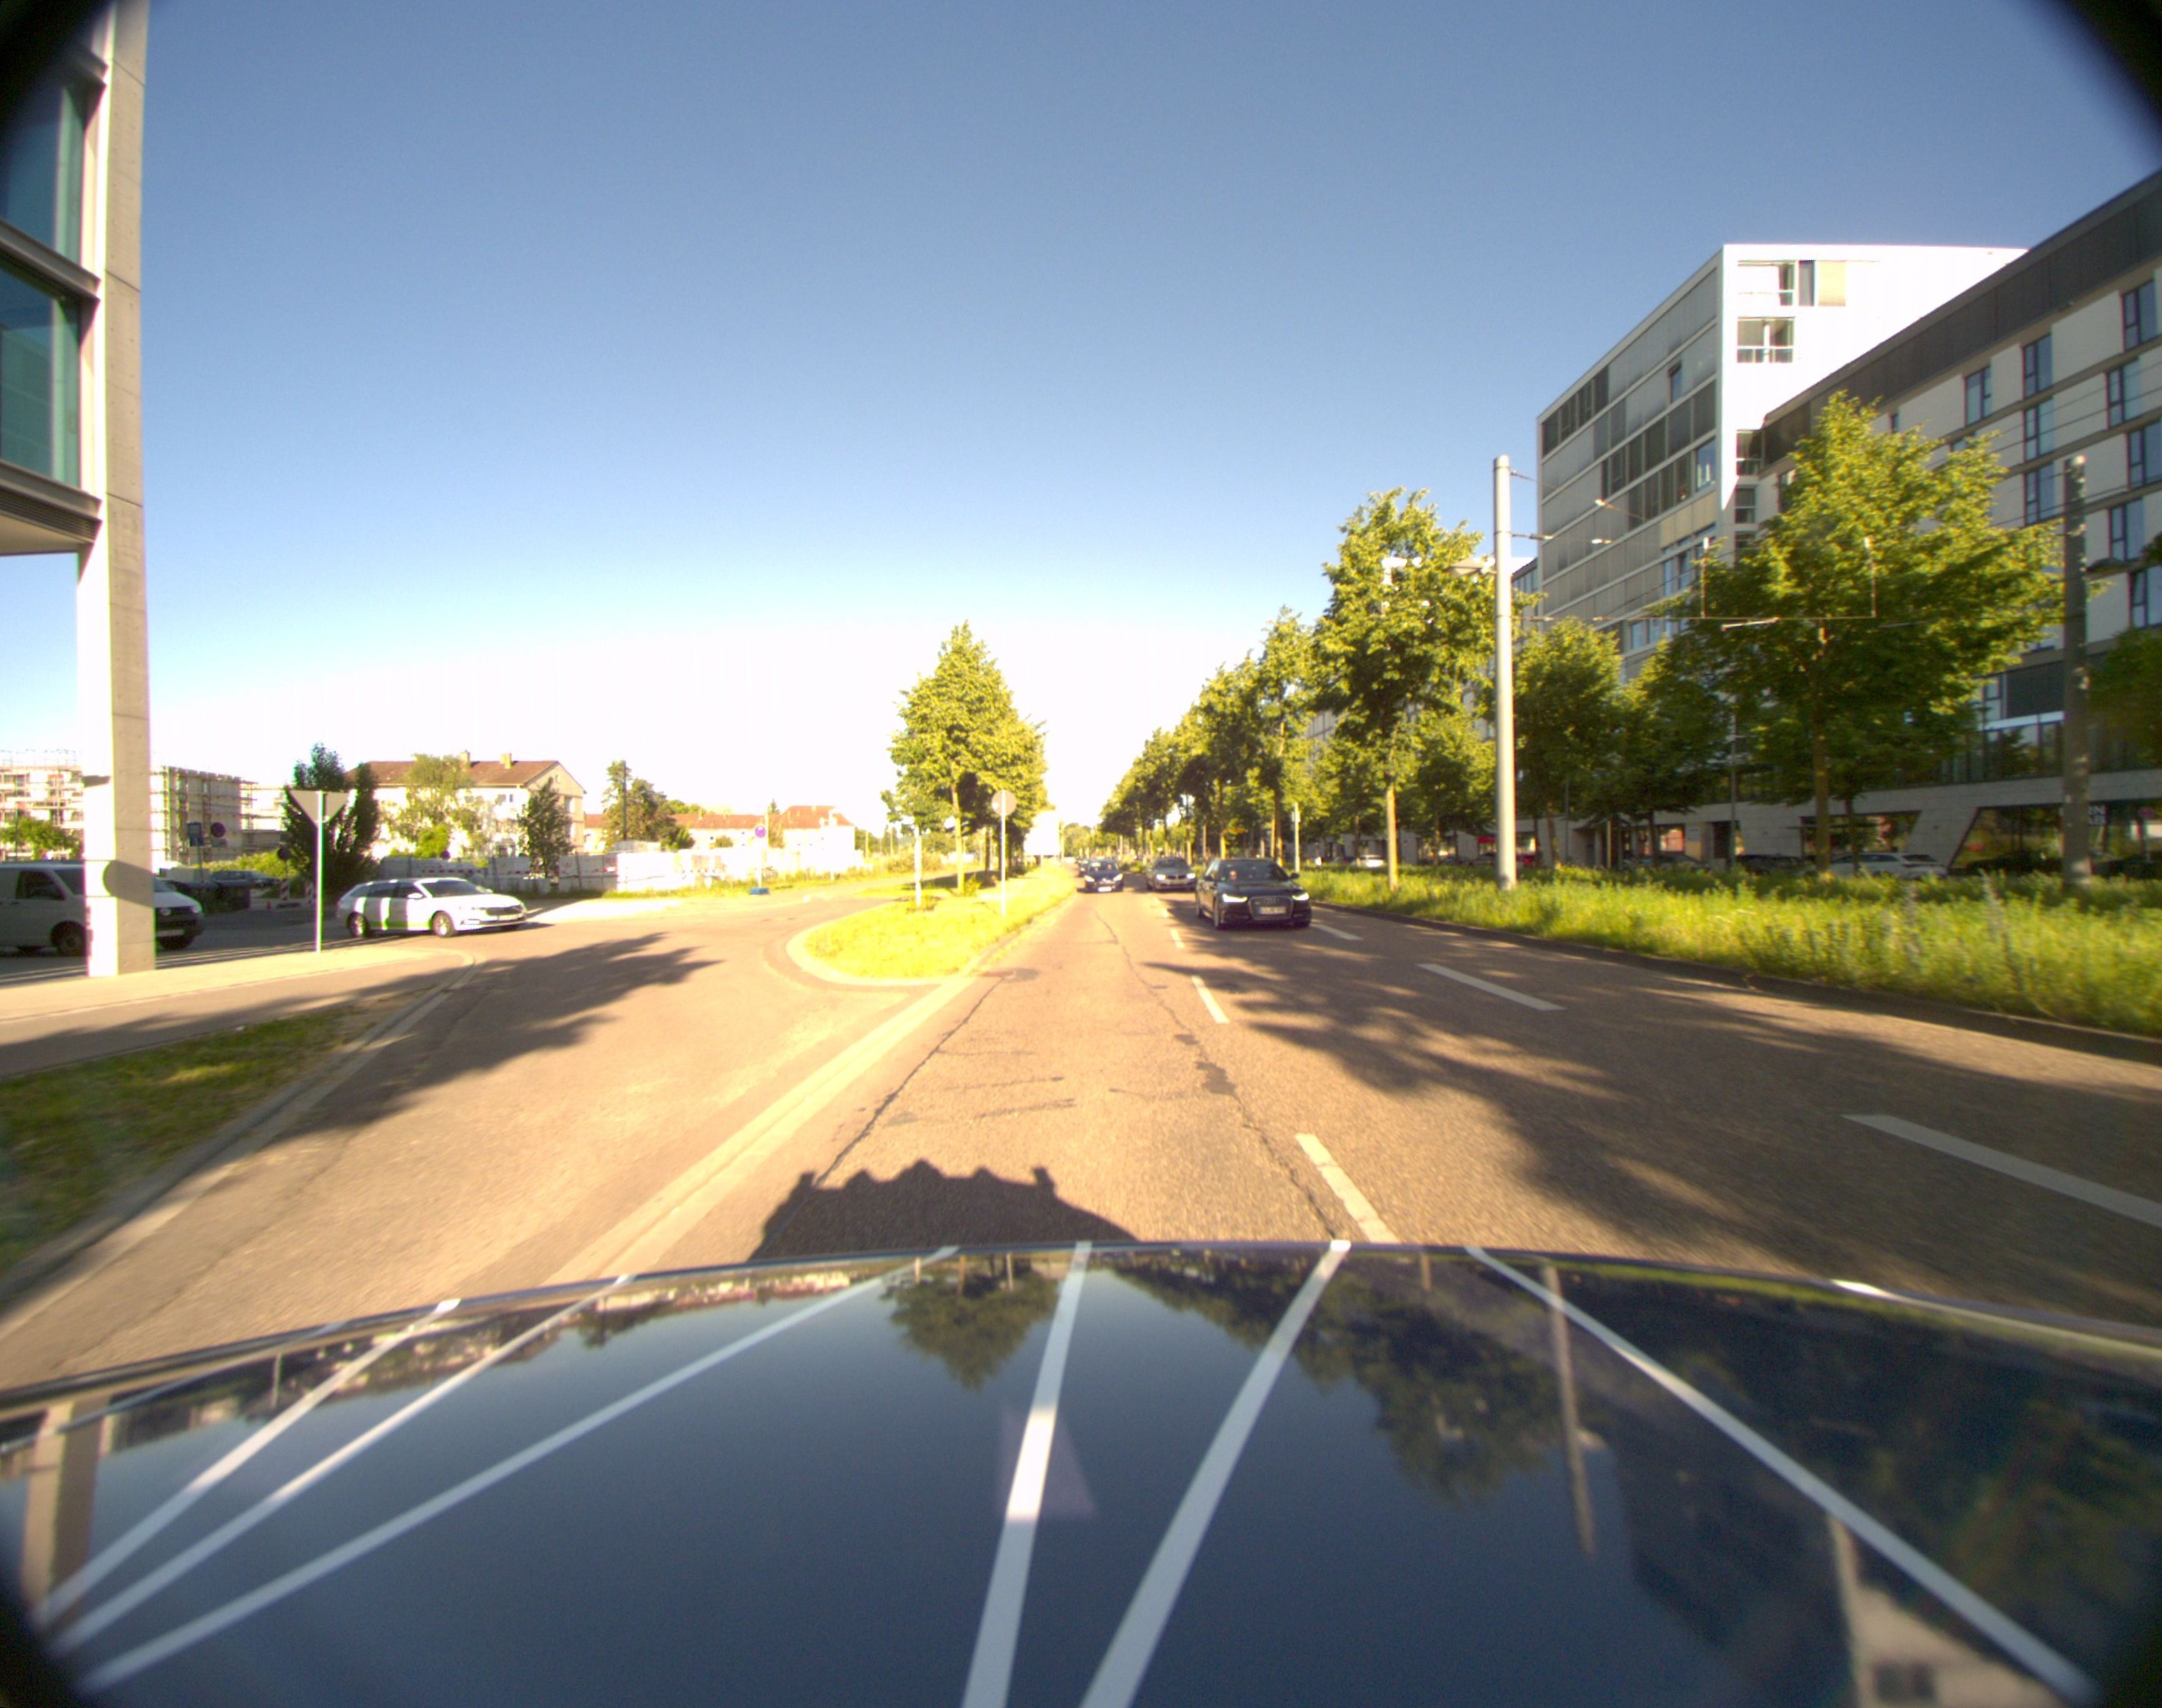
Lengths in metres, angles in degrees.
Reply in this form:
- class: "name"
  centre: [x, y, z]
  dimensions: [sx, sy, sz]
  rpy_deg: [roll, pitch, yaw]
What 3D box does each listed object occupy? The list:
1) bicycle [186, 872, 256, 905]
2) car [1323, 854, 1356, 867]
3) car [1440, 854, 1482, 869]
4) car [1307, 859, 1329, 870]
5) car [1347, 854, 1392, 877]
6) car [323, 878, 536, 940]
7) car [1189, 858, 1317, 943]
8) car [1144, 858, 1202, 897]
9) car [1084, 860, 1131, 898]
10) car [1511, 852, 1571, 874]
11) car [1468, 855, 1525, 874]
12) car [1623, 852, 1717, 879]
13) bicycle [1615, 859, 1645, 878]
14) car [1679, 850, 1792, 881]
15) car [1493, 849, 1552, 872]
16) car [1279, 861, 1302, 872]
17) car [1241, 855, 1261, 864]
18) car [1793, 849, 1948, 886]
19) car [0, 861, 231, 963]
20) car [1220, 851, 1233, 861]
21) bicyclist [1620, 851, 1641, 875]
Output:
- class: "bicycle"
  centre: [-32.726, 1.293, 28.939]
  dimensions: [0.584, 1.184, 1.747]
  rpy_deg: [-1, 1, 3]
- class: "car"
  centre: [25.318, 0.636, 74.638]
  dimensions: [1.802, 1.256, 3.999]
  rpy_deg: [-1, 0, -2]
- class: "car"
  centre: [32.329, 0.601, 64.693]
  dimensions: [1.672, 1.200, 3.582]
  rpy_deg: [-1, 0, -2]
- class: "car"
  centre: [31.031, 1.368, 99.524]
  dimensions: [1.654, 1.228, 3.463]
  rpy_deg: [-1, 2, -2]
- class: "car"
  centre: [23.141, 0.914, 61.064]
  dimensions: [1.802, 1.679, 4.320]
  rpy_deg: [-2, 0, -2]
- class: "car"
  centre: [-16.495, 1.386, 19.285]
  dimensions: [4.519, 1.385, 1.775]
  rpy_deg: [-2, 1, 14]
- class: "car"
  centre: [3.618, 0.902, 16.813]
  dimensions: [1.789, 1.518, 4.601]
  rpy_deg: [-2, 0, 0]
- class: "car"
  centre: [3.981, 0.972, 33.503]
  dimensions: [1.849, 1.560, 4.527]
  rpy_deg: [-1, 0, -2]
- class: "car"
  centre: [1.119, 1.080, 34.157]
  dimensions: [1.763, 1.506, 3.946]
  rpy_deg: [-1, 0, -3]
- class: "car"
  centre: [32.295, 0.609, 53.459]
  dimensions: [1.738, 1.346, 3.752]
  rpy_deg: [-5, 1, -2]
- class: "car"
  centre: [32.486, 0.774, 59.589]
  dimensions: [1.672, 1.411, 4.803]
  rpy_deg: [-1, 0, -2]
- class: "car"
  centre: [32.876, 0.625, 42.589]
  dimensions: [1.720, 1.412, 4.544]
  rpy_deg: [-1, 0, -1]
- class: "bicycle"
  centre: [34.612, 0.918, 47.912]
  dimensions: [0.734, 1.113, 1.570]
  rpy_deg: [-1, 1, 1]
- class: "car"
  centre: [32.325, 0.565, 37.730]
  dimensions: [1.719, 1.411, 4.545]
  rpy_deg: [-1, 0, 0]
- class: "car"
  centre: [36.866, 0.549, 63.634]
  dimensions: [1.802, 1.766, 5.128]
  rpy_deg: [-2, 0, -1]
- class: "car"
  centre: [30.945, 1.856, 112.328]
  dimensions: [2.004, 1.412, 4.543]
  rpy_deg: [-1, 1, -1]
- class: "car"
  centre: [24.989, 0.820, 111.702]
  dimensions: [1.802, 1.284, 4.310]
  rpy_deg: [0, -1, -2]
- class: "car"
  centre: [32.960, 0.526, 31.935]
  dimensions: [1.720, 1.412, 4.544]
  rpy_deg: [-1, 0, -1]
- class: "car"
  centre: [-21.768, 1.198, 16.228]
  dimensions: [5.079, 1.970, 1.938]
  rpy_deg: [-1, 0, 1]
- class: "car"
  centre: [29.560, 0.391, 154.890]
  dimensions: [1.804, 1.915, 3.998]
  rpy_deg: [-1, 2, -1]
- class: "bicyclist"
  centre: [34.604, 0.575, 47.888]
  dimensions: [0.722, 1.455, 0.832]
  rpy_deg: [-1, 1, 1]
